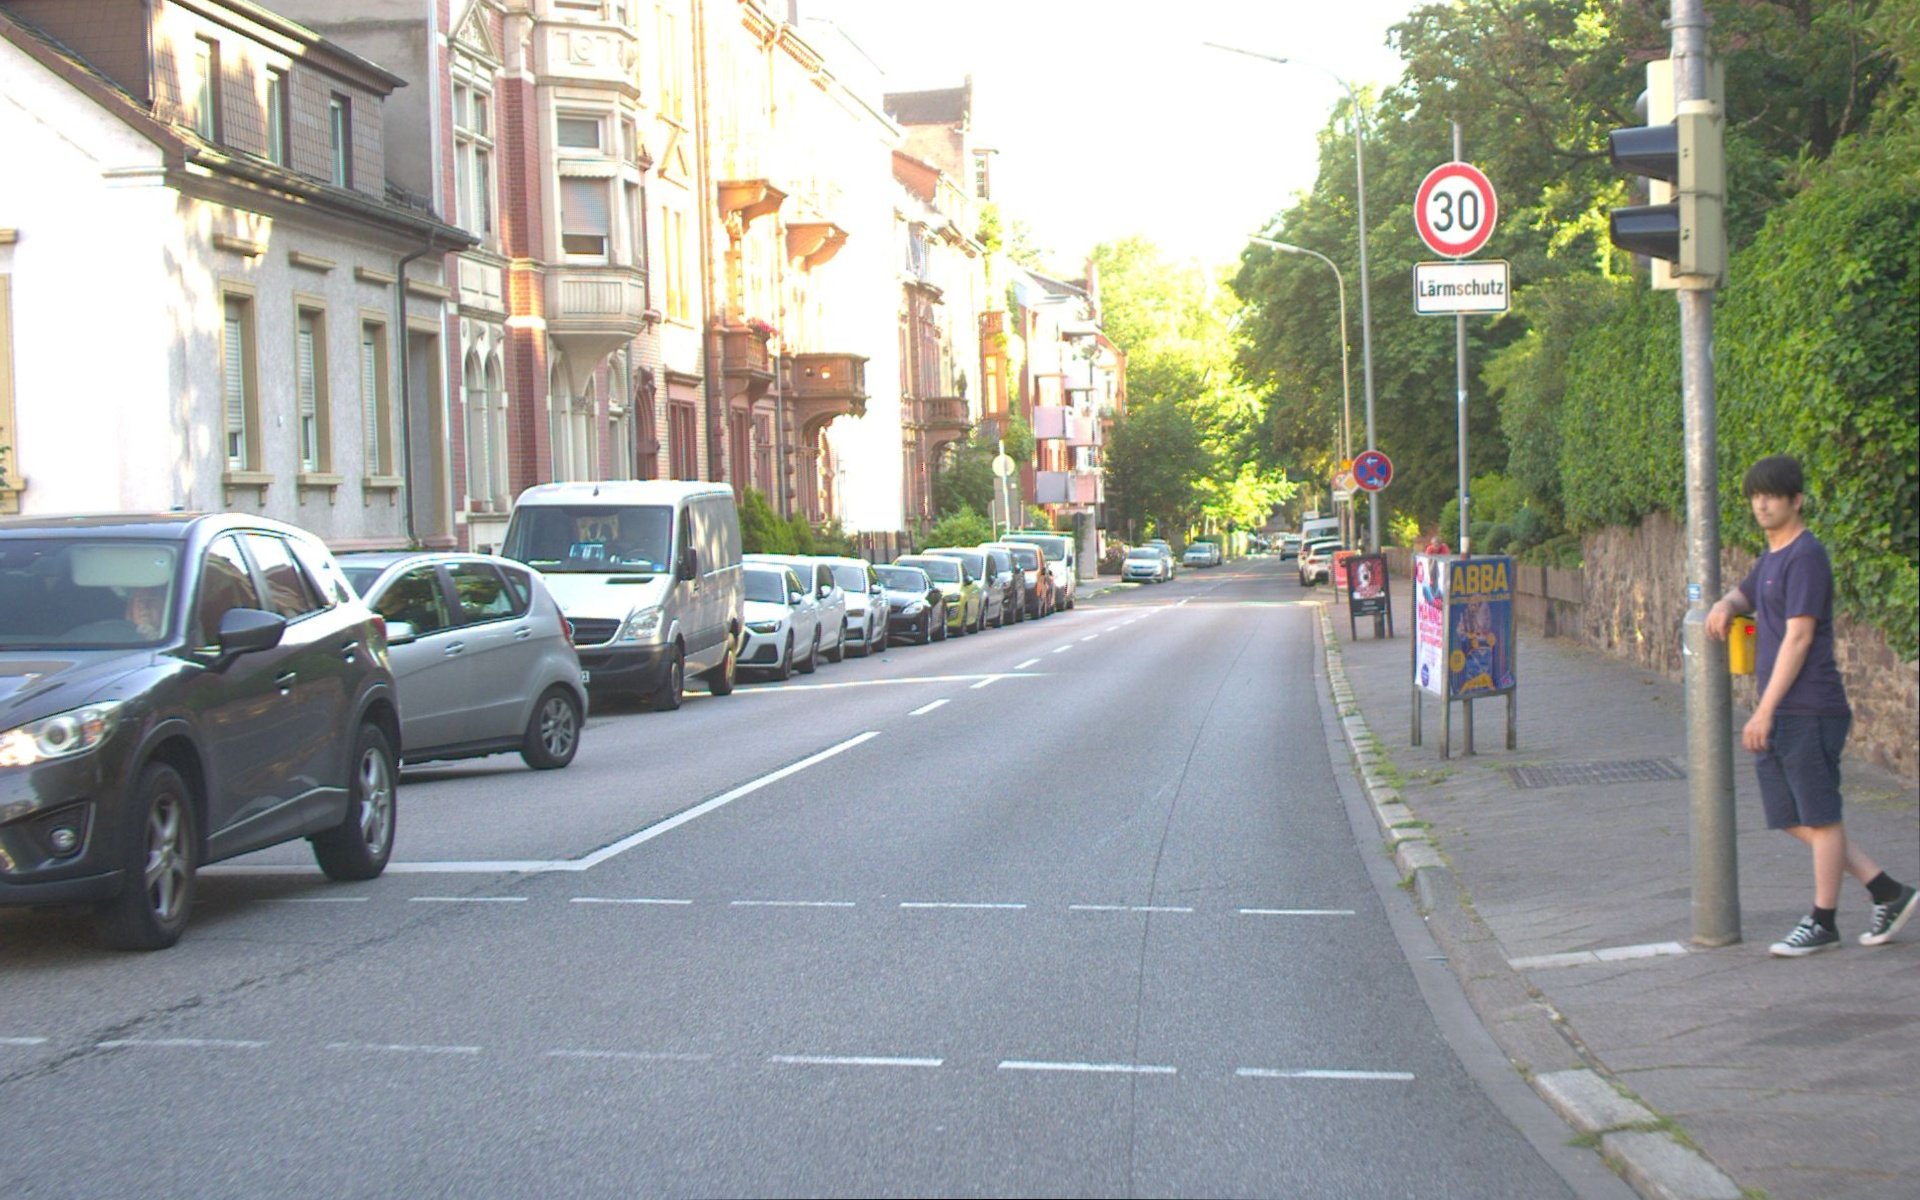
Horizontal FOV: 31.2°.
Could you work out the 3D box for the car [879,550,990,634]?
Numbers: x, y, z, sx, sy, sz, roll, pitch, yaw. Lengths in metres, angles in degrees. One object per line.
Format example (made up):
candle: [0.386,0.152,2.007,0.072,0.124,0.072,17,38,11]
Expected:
car: [-0.439,-0.141,63.695,1.703,1.498,4.072,0,0,5]

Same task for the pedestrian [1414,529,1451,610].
pedestrian: [8.288,-0.536,60.297,0.598,1.398,0.668,0,2,4]

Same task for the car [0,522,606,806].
car: [-4.286,0.337,23.101,1.956,1.643,4.278,0,2,23]

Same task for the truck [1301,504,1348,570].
truck: [16.770,-2.936,158.352,1.994,2.887,4.470,-2,2,6]

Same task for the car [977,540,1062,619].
car: [1.387,-0.499,78.730,1.703,1.732,3.856,0,1,5]

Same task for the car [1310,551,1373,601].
car: [13.002,-0.836,116.996,1.994,1.512,3.999,-2,2,7]

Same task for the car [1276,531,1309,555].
car: [22.752,-3.890,235.626,1.994,1.486,4.470,-2,2,3]

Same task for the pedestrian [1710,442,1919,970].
pedestrian: [2.869,0.335,11.421,0.602,1.687,0.612,-2,2,5]

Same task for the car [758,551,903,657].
car: [-1.965,0.027,53.490,1.703,1.531,4.548,0,1,5]

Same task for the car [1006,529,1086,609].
car: [2.264,-0.845,89.521,1.793,2.003,4.697,0,1,5]

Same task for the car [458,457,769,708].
car: [-3.572,-0.232,36.726,2.068,2.452,6.013,0,1,6]

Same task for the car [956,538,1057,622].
car: [1.023,-0.457,73.529,1.703,1.702,4.439,0,1,7]

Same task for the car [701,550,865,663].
car: [-2.478,0.066,48.926,1.703,1.497,4.020,0,1,6]

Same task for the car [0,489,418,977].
car: [-3.729,0.393,13.954,1.954,1.643,4.283,0,2,6]

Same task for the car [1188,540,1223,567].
car: [15.482,-2.950,216.592,1.994,1.486,4.470,-2,2,6]

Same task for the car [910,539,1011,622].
car: [0.036,-0.414,68.678,1.703,1.578,3.634,0,1,5]

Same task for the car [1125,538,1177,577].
car: [8.378,-1.877,150.341,1.994,1.486,4.470,-2,2,6]

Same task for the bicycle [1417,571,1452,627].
bicycle: [8.243,-0.019,59.698,0.566,0.967,0.492,0,2,4]

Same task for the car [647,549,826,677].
car: [-2.778,0.129,43.417,1.703,1.497,3.823,0,1,5]

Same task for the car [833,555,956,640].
car: [-1.090,-0.064,58.659,1.703,1.362,3.859,0,1,5]
